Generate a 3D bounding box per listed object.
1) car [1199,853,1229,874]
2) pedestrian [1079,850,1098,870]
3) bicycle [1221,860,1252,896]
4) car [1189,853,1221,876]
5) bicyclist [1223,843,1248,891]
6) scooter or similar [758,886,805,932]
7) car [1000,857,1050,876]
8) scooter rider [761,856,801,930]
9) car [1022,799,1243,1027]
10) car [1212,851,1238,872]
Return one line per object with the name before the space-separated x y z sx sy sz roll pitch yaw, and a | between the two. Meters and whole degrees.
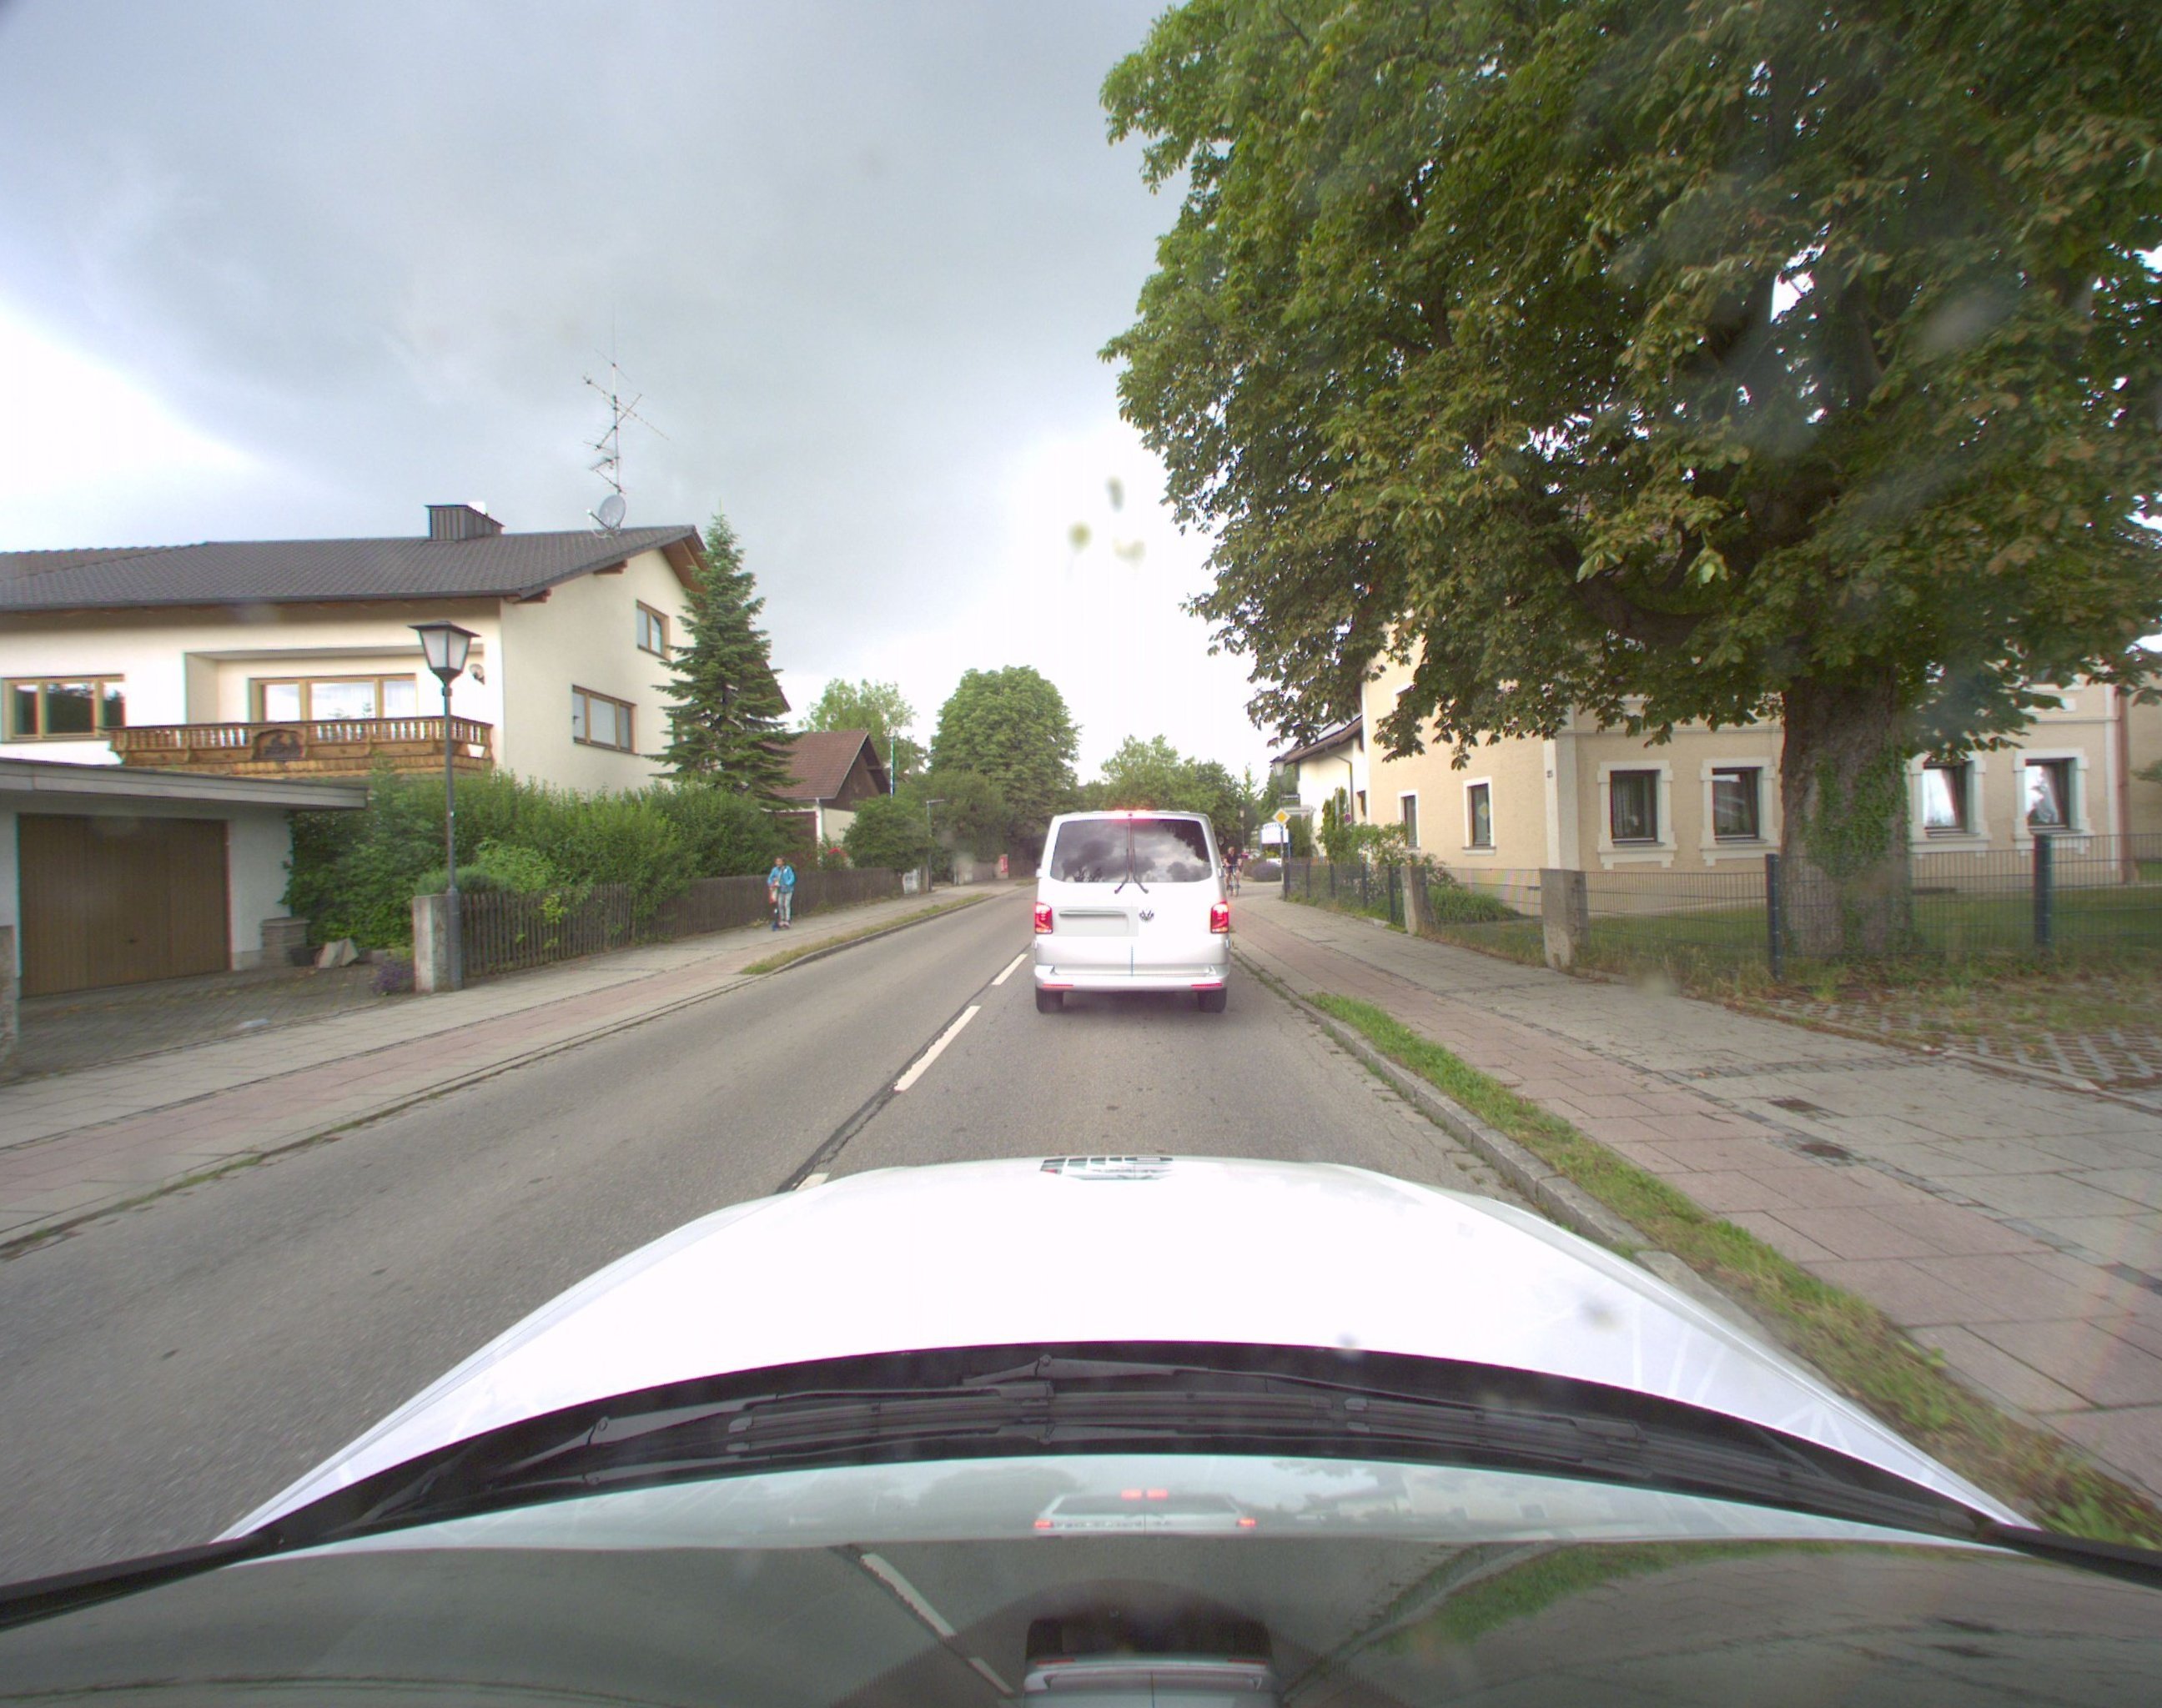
car | 10.527 0.718 64.339 1.867 1.535 3.937 -2 0 16
pedestrian | 0.702 0.579 75.327 1.055 1.803 1.331 -1 0 38
bicycle | 5.425 0.819 28.526 0.761 1.143 1.847 -4 0 4
car | 8.913 0.710 58.269 1.868 1.535 3.936 -2 0 14
bicyclist | 5.392 0.441 28.525 0.733 1.633 0.891 -1 0 3
scooter or similar | -6.158 1.118 16.767 0.519 0.850 1.062 -1 0 3
car | -4.574 0.994 66.417 3.982 1.486 1.996 -1 0 -6
scooter rider | -6.170 0.786 16.770 0.500 1.489 0.717 -1 0 2
car | 0.551 0.520 9.057 1.873 1.940 3.923 -2 0 3
car | 12.582 0.649 71.072 1.867 1.748 4.096 -2 0 15
